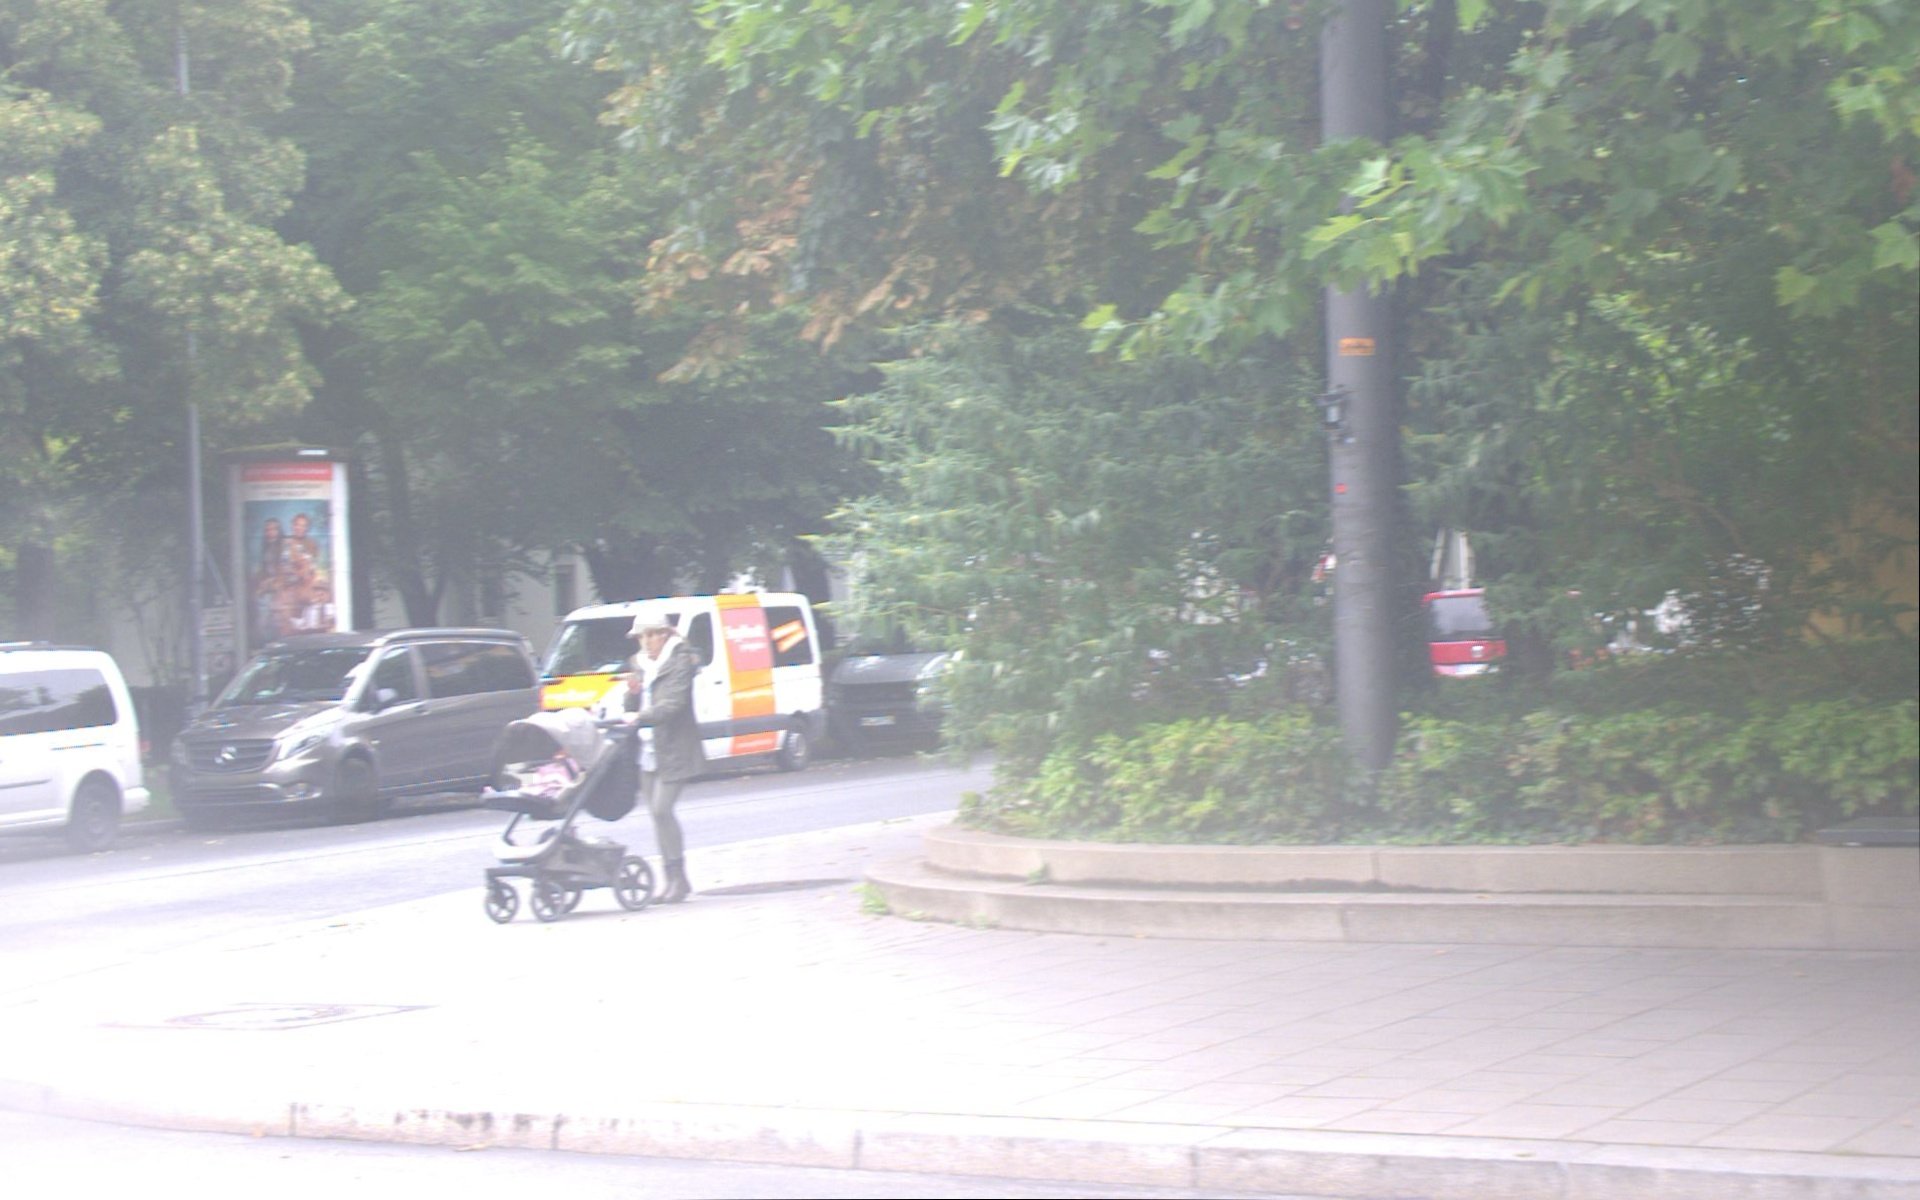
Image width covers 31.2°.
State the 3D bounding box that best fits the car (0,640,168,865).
[{"bbox_3d":[-9.142,1.348,29.563,1.928,1.888,4.861,-2,-1,25],"label":"car"}]

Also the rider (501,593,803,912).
[{"bbox_3d":[-1.709,0.840,19.111,1.084,1.662,1.137,-6,-3,39],"label":"rider"}]

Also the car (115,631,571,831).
[{"bbox_3d":[-6.276,1.308,35.602,2.068,1.853,4.979,-2,-1,26],"label":"car"}]

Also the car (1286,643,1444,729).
[{"bbox_3d":[8.120,1.694,68.645,1.898,1.566,4.069,-2,-1,25],"label":"car"}]

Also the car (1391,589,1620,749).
[{"bbox_3d":[7.117,0.852,44.495,2.043,1.916,4.441,-2,-1,20],"label":"car"}]

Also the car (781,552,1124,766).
[{"bbox_3d":[0.012,0.825,50.743,2.338,2.912,6.569,-2,-1,26],"label":"car"}]

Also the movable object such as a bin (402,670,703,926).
[{"bbox_3d":[-2.189,1.061,18.475,1.080,1.263,1.084,-6,-3,39],"label":"movable object such as a bin"}]

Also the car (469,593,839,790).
[{"bbox_3d":[-3.662,1.074,42.310,2.113,2.243,5.188,-2,-1,26],"label":"car"}]

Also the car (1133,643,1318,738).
[{"bbox_3d":[4.731,1.574,60.777,1.898,1.533,4.069,-2,-1,25],"label":"car"}]
